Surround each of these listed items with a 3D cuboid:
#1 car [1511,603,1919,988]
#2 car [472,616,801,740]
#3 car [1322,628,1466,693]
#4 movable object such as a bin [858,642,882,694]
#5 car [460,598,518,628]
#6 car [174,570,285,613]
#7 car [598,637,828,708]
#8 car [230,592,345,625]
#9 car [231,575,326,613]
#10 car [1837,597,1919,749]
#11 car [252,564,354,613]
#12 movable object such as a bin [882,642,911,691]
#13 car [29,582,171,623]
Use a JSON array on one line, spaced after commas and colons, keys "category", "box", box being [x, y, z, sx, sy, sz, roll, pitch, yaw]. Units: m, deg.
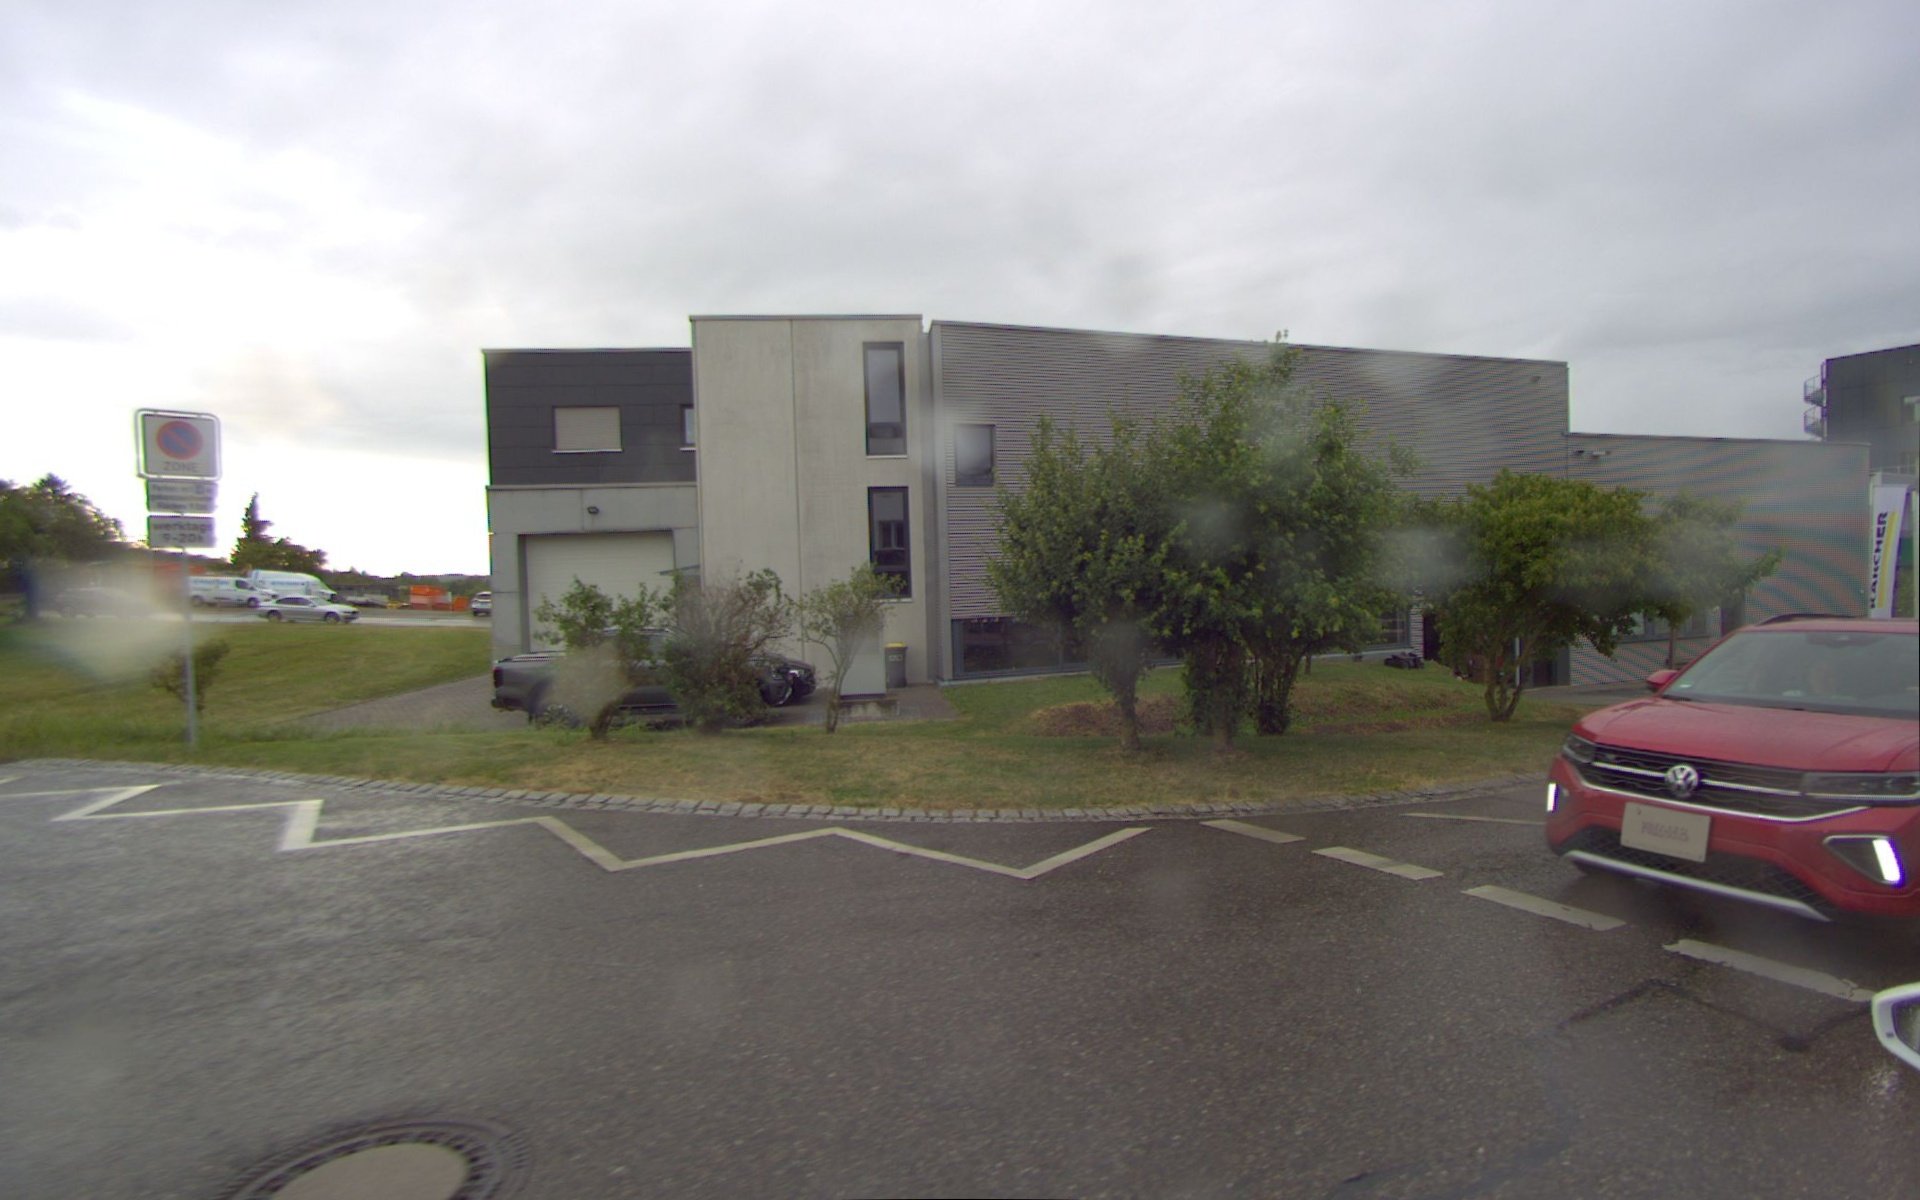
[{"category": "car", "box": [5.168, 0.844, 5.660, 3.885, 1.528, 1.741, 2, -1, -27]}, {"category": "car", "box": [-5.822, 1.374, 18.803, 5.506, 1.947, 2.133, -2, 0, -8]}, {"category": "car", "box": [13.838, 1.869, 32.313, 1.903, 1.796, 4.207, -2, 0, -19]}, {"category": "movable object such as a bin", "box": [-2.115, 1.591, 23.661, 0.557, 1.181, 0.556, -1, -2, -5]}, {"category": "car", "box": [-30.566, 0.805, 65.390, 2.239, 1.880, 4.710, 0, 0, -10]}, {"category": "car", "box": [-49.427, -0.586, 68.071, 5.712, 2.738, 1.995, 1, 0, -13]}, {"category": "car", "box": [-5.164, 1.514, 21.645, 4.604, 1.415, 1.998, 0, -2, -8]}, {"category": "car", "box": [-35.918, 0.470, 53.787, 4.533, 1.670, 2.289, 0, -3, -7]}, {"category": "car", "box": [-50.036, -0.413, 73.880, 5.336, 2.603, 1.996, 1, -2, -12]}, {"category": "car", "box": [13.899, 0.955, 13.416, 4.792, 1.855, 1.906, 2, -1, -31]}, {"category": "car", "box": [-50.027, -0.860, 76.573, 6.183, 3.474, 1.998, 1, -2, -6]}, {"category": "movable object such as a bin", "box": [-1.508, 1.569, 23.778, 0.661, 1.111, 0.636, -1, -2, -5]}, {"category": "car", "box": [-46.144, 0.157, 54.006, 5.321, 2.000, 2.289, 1, -3, -7]}]
